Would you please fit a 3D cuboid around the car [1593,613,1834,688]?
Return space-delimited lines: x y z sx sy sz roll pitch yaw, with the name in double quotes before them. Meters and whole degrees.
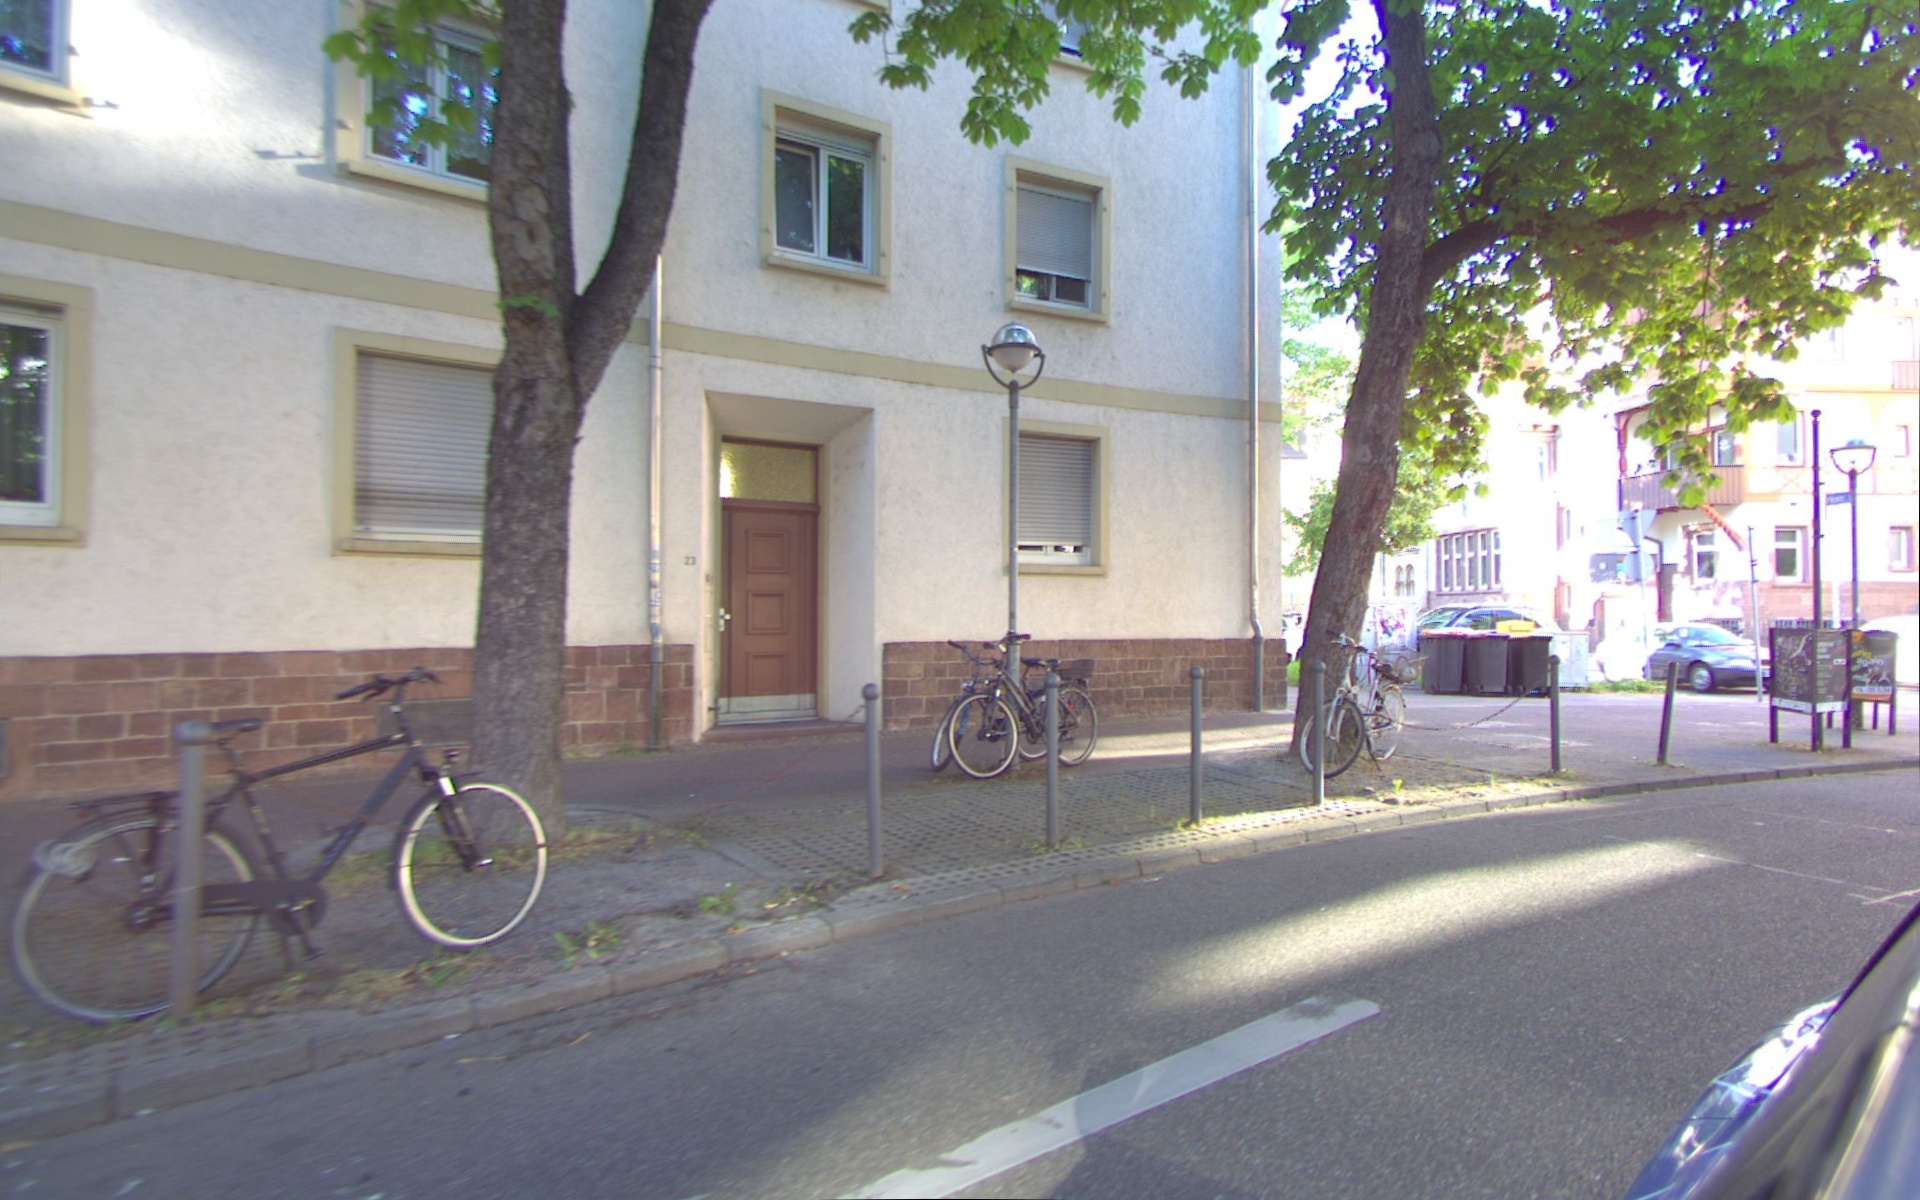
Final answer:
"car" 15.670 0.983 21.390 1.760 1.413 4.256 0 -1 -2

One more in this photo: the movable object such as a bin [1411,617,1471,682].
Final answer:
"movable object such as a bin" 8.751 0.888 18.441 0.725 1.168 0.702 0 -1 -2

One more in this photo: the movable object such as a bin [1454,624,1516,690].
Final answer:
"movable object such as a bin" 9.615 1.034 18.545 0.725 1.168 0.716 0 -1 -2

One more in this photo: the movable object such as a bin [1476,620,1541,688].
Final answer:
"movable object such as a bin" 9.608 0.939 17.763 0.725 1.168 0.702 0 -1 -2

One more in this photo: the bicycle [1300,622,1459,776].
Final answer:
"bicycle" 3.677 0.798 8.810 1.759 1.197 0.554 1 -1 -41

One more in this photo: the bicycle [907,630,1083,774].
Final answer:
"bicycle" 0.342 0.830 8.785 1.772 1.123 0.391 1 -2 -43

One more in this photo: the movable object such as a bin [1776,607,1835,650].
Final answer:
"movable object such as a bin" 26.732 0.895 32.014 1.356 1.334 0.688 -1 -1 -10

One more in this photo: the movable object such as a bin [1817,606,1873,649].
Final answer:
"movable object such as a bin" 27.995 0.877 32.018 1.182 1.327 0.631 -1 -1 -1

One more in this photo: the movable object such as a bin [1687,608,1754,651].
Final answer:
"movable object such as a bin" 24.032 0.921 32.003 1.356 1.315 0.966 -1 -1 7

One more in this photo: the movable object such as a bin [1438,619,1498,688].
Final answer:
"movable object such as a bin" 8.871 0.922 17.697 0.621 1.168 0.701 -2 -2 -2

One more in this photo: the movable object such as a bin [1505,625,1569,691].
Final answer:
"movable object such as a bin" 9.700 0.970 17.029 0.646 1.078 0.695 0 -1 -2

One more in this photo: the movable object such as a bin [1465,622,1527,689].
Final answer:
"movable object such as a bin" 8.976 0.923 16.962 0.618 1.089 0.705 0 -1 -2

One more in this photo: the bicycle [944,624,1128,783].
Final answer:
"bicycle" 0.674 0.808 8.507 1.754 1.196 0.438 1 -1 -41

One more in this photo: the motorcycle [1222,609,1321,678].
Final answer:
"motorcycle" 6.186 0.842 20.256 0.958 1.296 2.186 1 -1 -11

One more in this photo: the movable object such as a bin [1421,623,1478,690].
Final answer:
"movable object such as a bin" 8.268 0.942 17.106 0.581 1.097 0.674 0 -1 -4

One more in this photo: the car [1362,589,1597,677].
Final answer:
"car" 11.085 0.722 21.756 4.035 1.735 2.026 1 -2 -7

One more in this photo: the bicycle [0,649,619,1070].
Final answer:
"bicycle" -2.406 0.822 3.890 1.966 1.173 0.681 0 0 -41

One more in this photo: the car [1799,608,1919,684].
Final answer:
"car" 20.408 0.943 21.556 1.677 1.504 3.799 -2 -1 -3

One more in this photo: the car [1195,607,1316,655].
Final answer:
"car" 9.911 1.048 34.099 3.531 1.525 1.678 1 -2 -2

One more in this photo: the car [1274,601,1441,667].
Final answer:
"car" 10.275 0.867 26.343 3.635 1.672 1.703 0 -1 1
